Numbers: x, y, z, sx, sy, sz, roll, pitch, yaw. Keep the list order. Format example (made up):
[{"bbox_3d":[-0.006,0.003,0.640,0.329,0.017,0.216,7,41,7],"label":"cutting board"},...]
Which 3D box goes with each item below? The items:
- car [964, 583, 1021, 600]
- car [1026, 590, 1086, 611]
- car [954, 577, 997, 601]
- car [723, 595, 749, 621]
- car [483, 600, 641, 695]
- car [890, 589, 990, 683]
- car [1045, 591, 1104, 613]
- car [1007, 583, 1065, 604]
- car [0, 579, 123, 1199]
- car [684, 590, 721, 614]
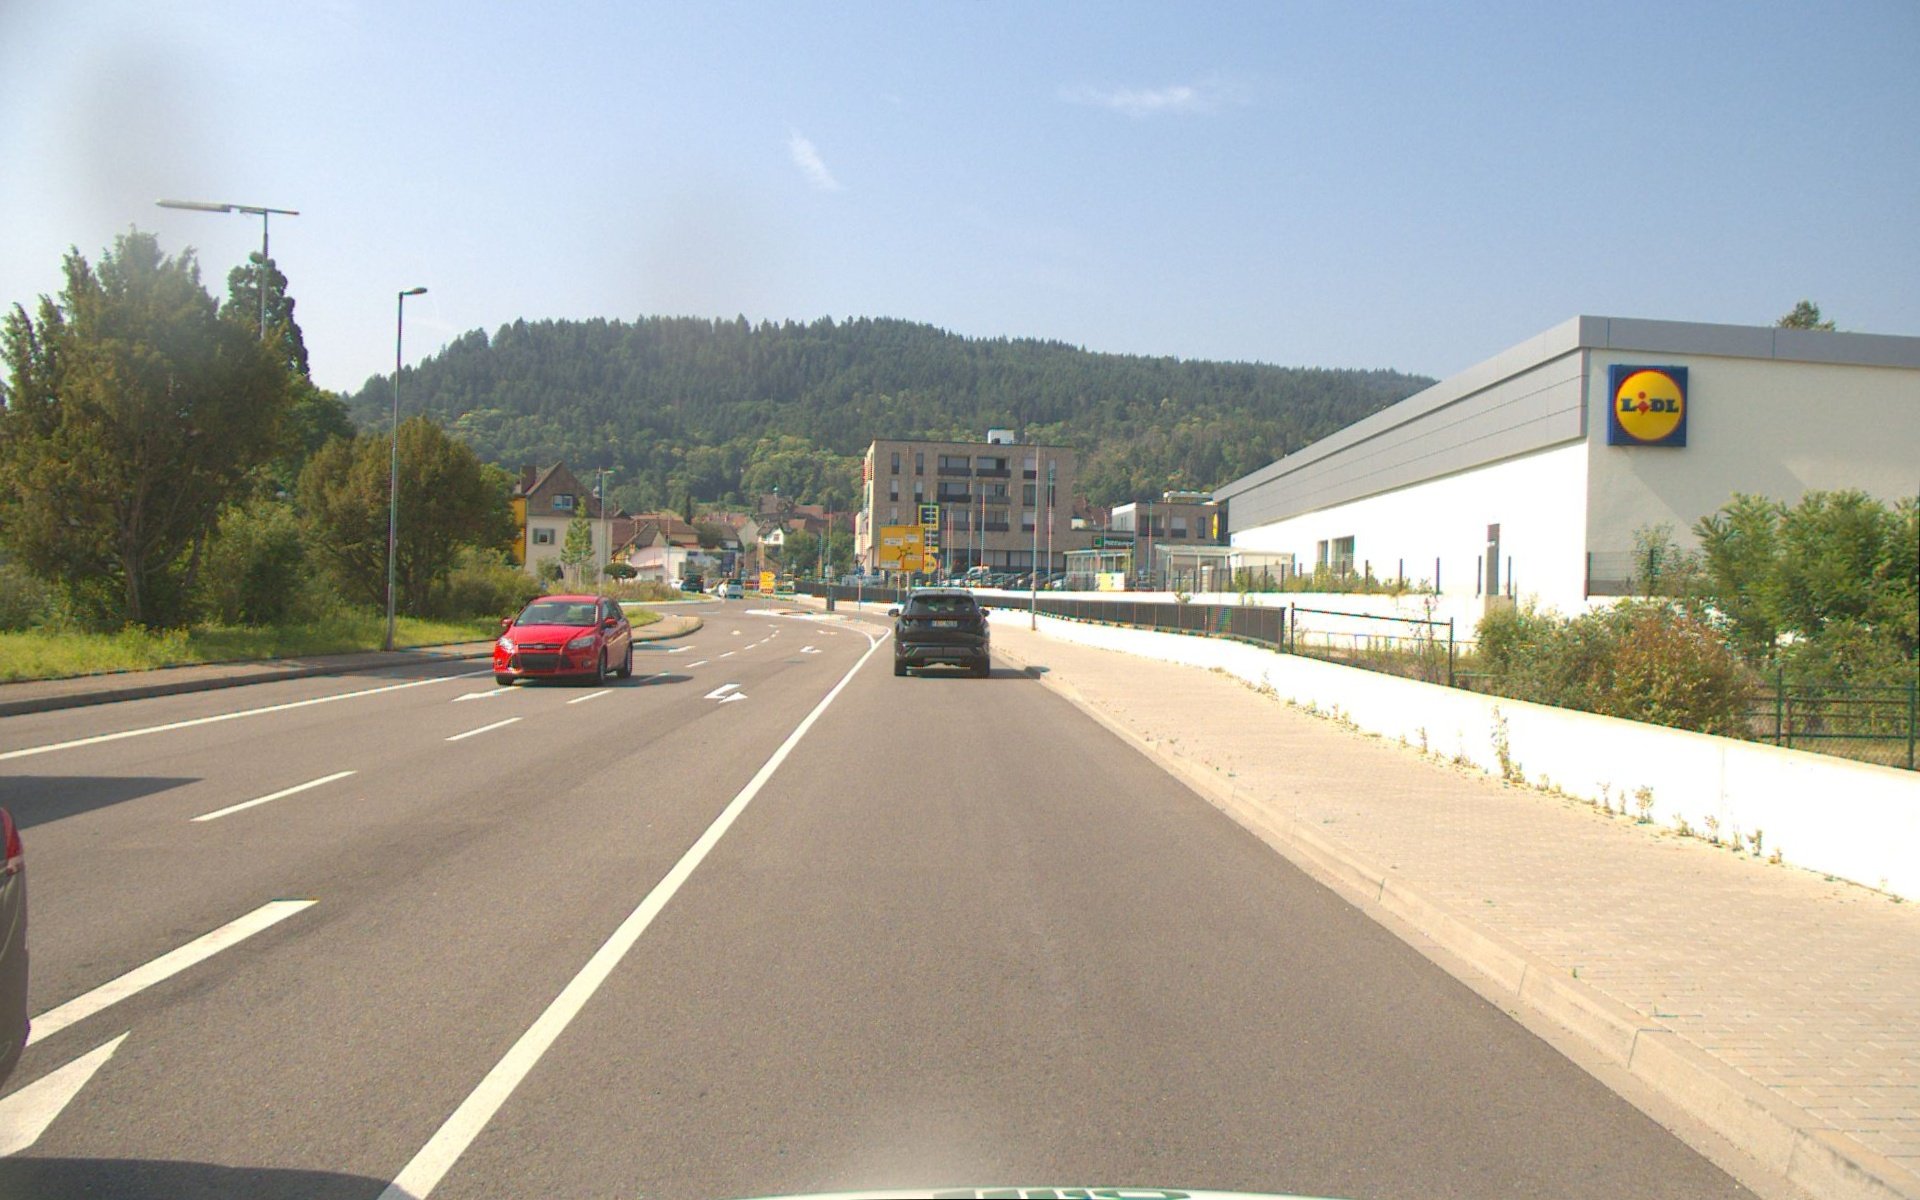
[{"bbox_3d":[2.552,-0.683,130.729,4.216,1.267,1.654,1,0,-21],"label":"car"},{"bbox_3d":[6.893,0.039,118.448,4.002,1.428,1.477,1,0,-21],"label":"car"},{"bbox_3d":[1.469,-1.029,151.943,3.904,2.173,2.000,1,-1,1],"label":"car"},{"bbox_3d":[-17.767,0.640,131.401,1.956,2.049,3.993,1,-1,-7],"label":"car"},{"bbox_3d":[-6.858,0.788,28.924,1.800,1.518,4.430,1,0,-2],"label":"car"},{"bbox_3d":[-0.368,0.686,32.691,1.842,1.713,4.000,1,0,0],"label":"car"},{"bbox_3d":[8.002,0.157,115.434,3.750,1.388,1.671,1,0,-21],"label":"car"},{"bbox_3d":[5.596,-0.452,122.156,3.946,1.428,1.715,1,0,-21],"label":"car"},{"bbox_3d":[-2.966,0.682,2.054,1.736,1.499,4.218,1,0,-1],"label":"car"},{"bbox_3d":[-22.323,0.190,143.671,1.951,2.049,4.003,0,-1,10],"label":"car"}]
